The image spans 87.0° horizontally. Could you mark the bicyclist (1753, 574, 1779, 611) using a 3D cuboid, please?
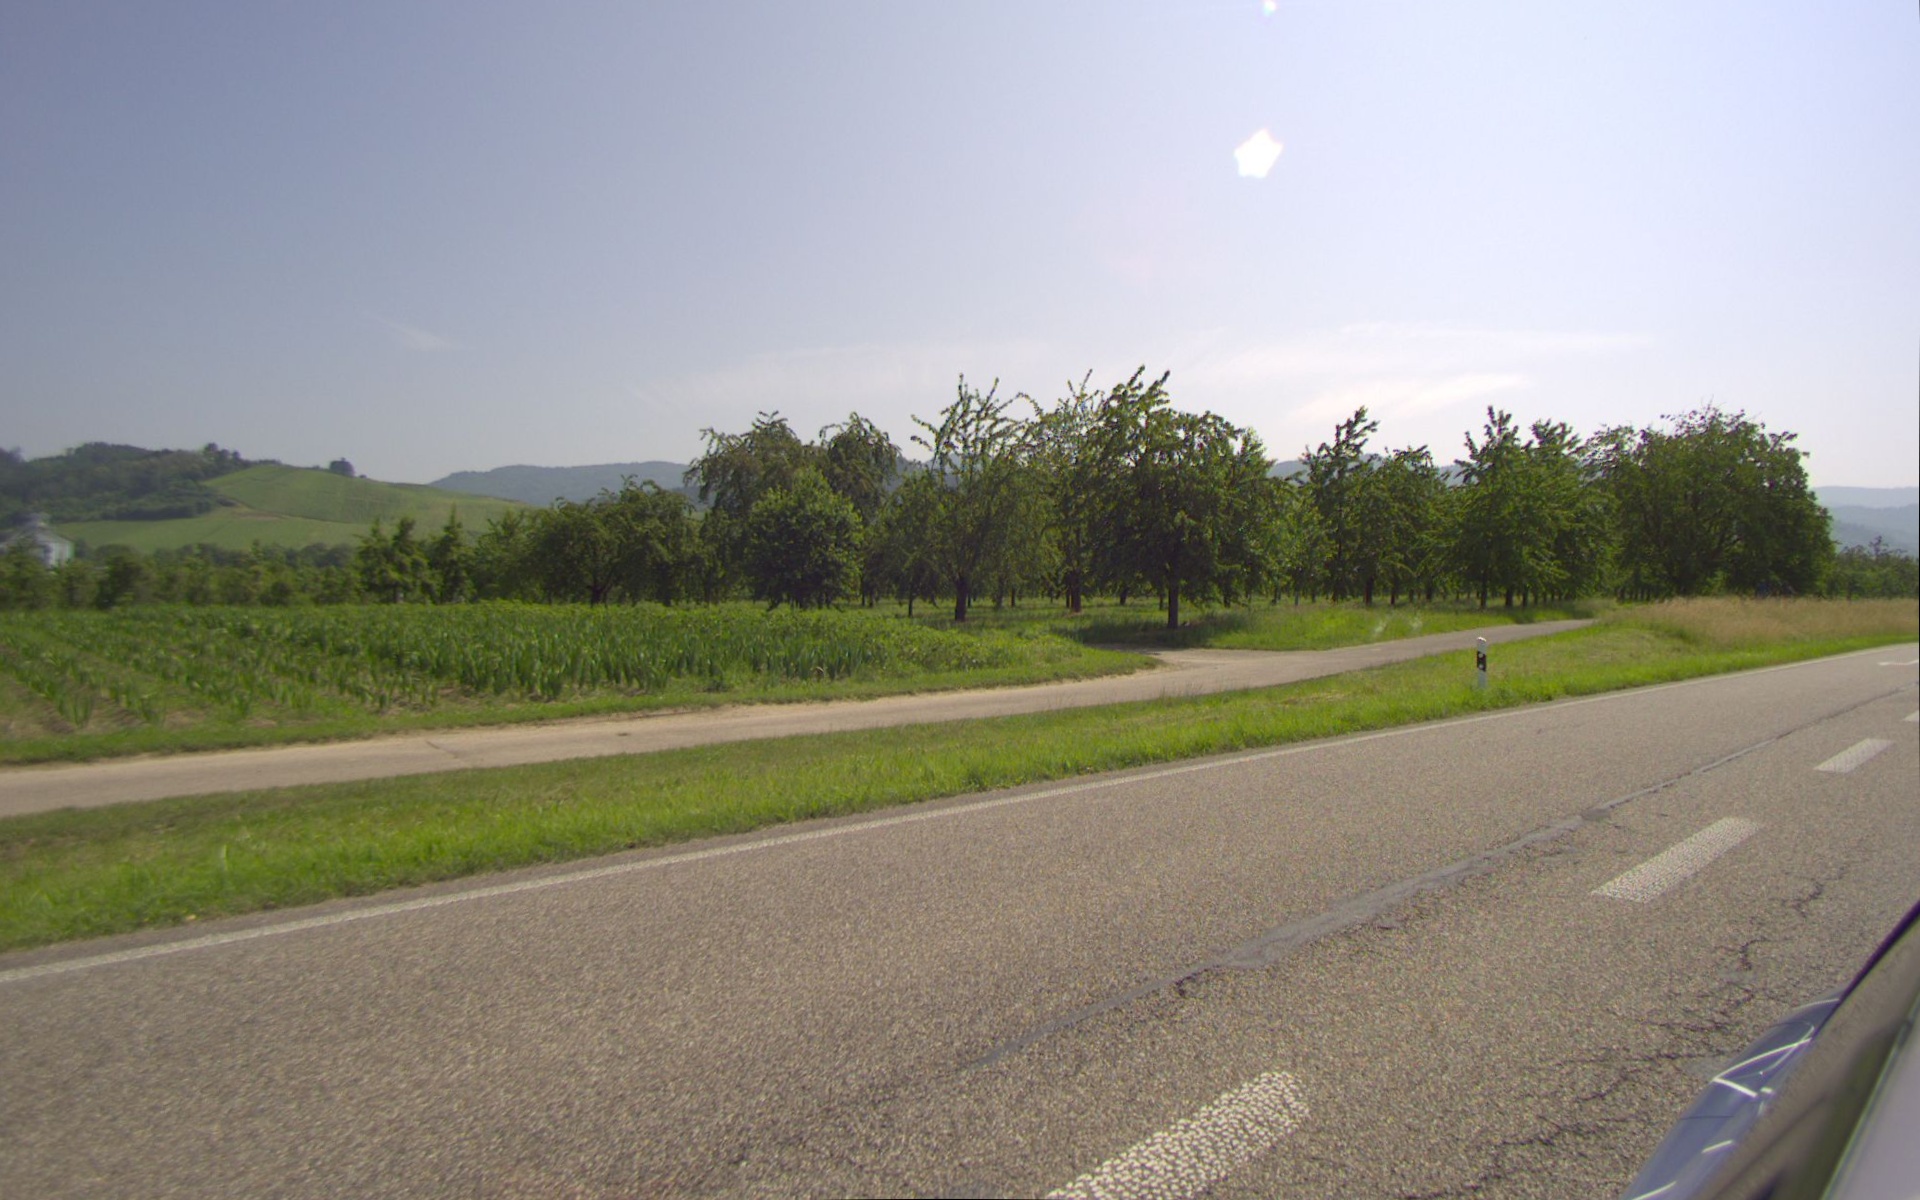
[{"bbox_3d":[42.253,-0.399,53.047,0.811,1.953,0.753,1,1,-28],"label":"bicyclist"}]

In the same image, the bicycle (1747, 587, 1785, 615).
[{"bbox_3d":[42.251,0.043,53.050,2.176,1.436,0.753,1,1,-29],"label":"bicycle"}]

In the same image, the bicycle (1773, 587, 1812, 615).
[{"bbox_3d":[42.905,0.062,52.136,2.176,1.436,0.753,1,1,-29],"label":"bicycle"}]

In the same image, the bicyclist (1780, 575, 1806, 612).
[{"bbox_3d":[42.901,-0.320,52.125,0.851,1.890,0.753,1,1,-28],"label":"bicyclist"}]
